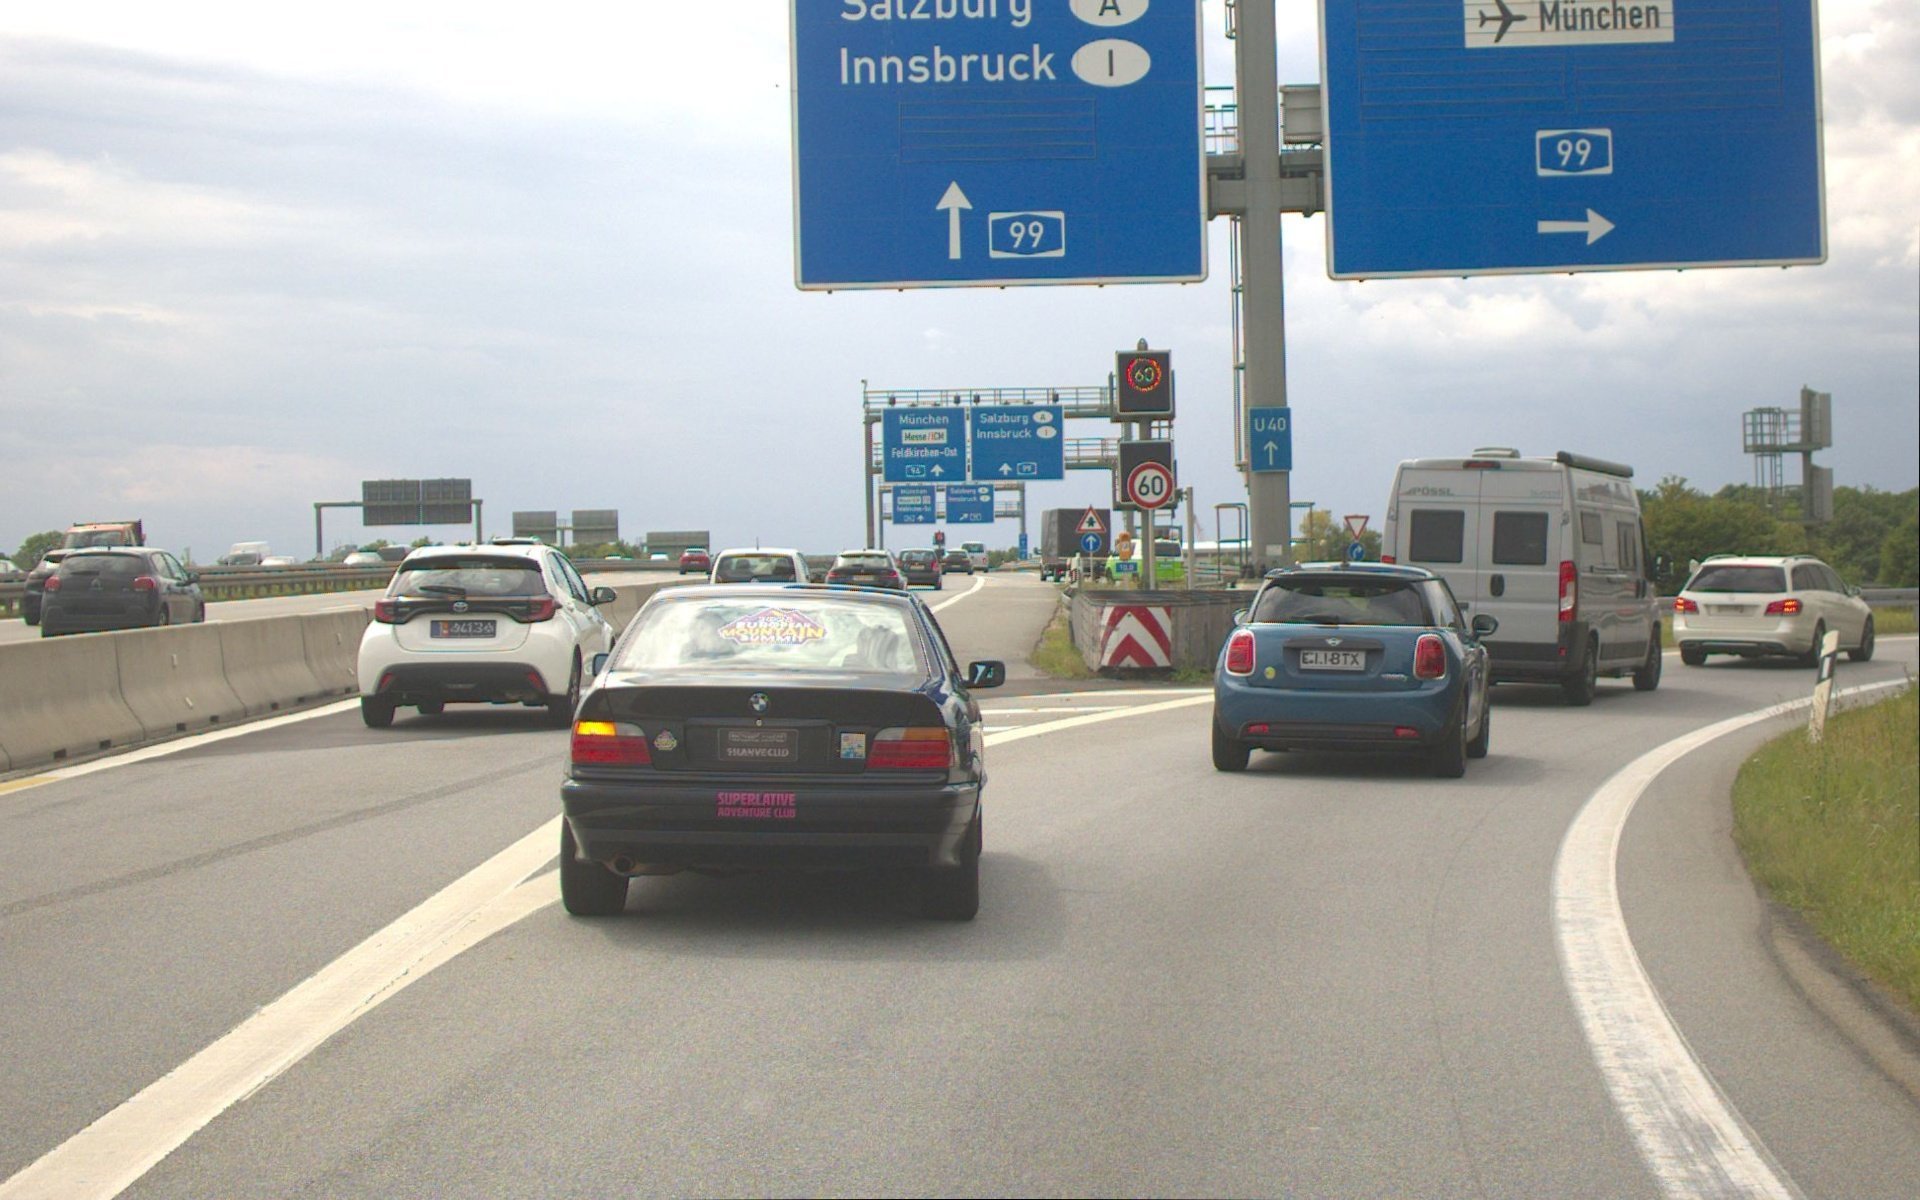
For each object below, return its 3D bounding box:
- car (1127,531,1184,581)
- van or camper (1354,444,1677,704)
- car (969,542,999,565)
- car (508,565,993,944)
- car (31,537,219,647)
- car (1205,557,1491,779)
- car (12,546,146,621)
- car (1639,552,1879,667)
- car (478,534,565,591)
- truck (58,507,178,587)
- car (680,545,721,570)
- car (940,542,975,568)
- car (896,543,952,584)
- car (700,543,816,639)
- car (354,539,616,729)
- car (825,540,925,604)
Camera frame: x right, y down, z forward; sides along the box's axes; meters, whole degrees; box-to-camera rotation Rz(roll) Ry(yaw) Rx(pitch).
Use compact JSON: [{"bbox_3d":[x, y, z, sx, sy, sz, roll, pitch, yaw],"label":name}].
[{"bbox_3d":[7.922,-1.787,139.802,1.993,2.007,4.000,0,1,-1],"label":"car"},{"bbox_3d":[6.135,-0.313,37.217,2.296,2.559,6.154,0,1,20],"label":"van or camper"},{"bbox_3d":[1.504,-2.939,214.897,1.803,1.419,4.000,0,1,2],"label":"car"},{"bbox_3d":[-0.758,0.555,14.845,1.782,1.373,4.137,0,1,1],"label":"car"},{"bbox_3d":[-12.072,-0.152,49.948,1.774,1.525,4.000,0,1,0],"label":"car"},{"bbox_3d":[2.834,0.423,24.513,1.730,1.414,3.664,1,1,11],"label":"car"},{"bbox_3d":[-16.623,-0.334,65.005,1.552,1.371,4.000,0,1,-1],"label":"car"},{"bbox_3d":[11.029,0.090,47.213,2.209,1.496,4.781,0,1,26],"label":"car"},{"bbox_3d":[-13.233,-1.153,103.940,1.993,1.678,4.866,0,1,0],"label":"car"},{"bbox_3d":[-25.865,-1.639,105.840,2.276,2.362,6.201,0,1,-1],"label":"truck"},{"bbox_3d":[-15.345,-2.543,203.664,1.993,1.463,4.000,0,1,2],"label":"car"},{"bbox_3d":[-0.134,-2.533,193.148,1.803,1.419,4.000,0,1,2],"label":"car"},{"bbox_3d":[-1.267,-1.299,121.265,1.866,1.419,4.000,0,1,1],"label":"car"},{"bbox_3d":[-3.186,-0.172,54.709,1.585,1.478,3.535,0,1,1],"label":"car"},{"bbox_3d":[-3.962,0.237,29.194,1.701,1.503,3.840,0,1,0],"label":"car"},{"bbox_3d":[-1.951,-0.671,80.094,1.994,1.463,4.000,0,1,4],"label":"car"}]
